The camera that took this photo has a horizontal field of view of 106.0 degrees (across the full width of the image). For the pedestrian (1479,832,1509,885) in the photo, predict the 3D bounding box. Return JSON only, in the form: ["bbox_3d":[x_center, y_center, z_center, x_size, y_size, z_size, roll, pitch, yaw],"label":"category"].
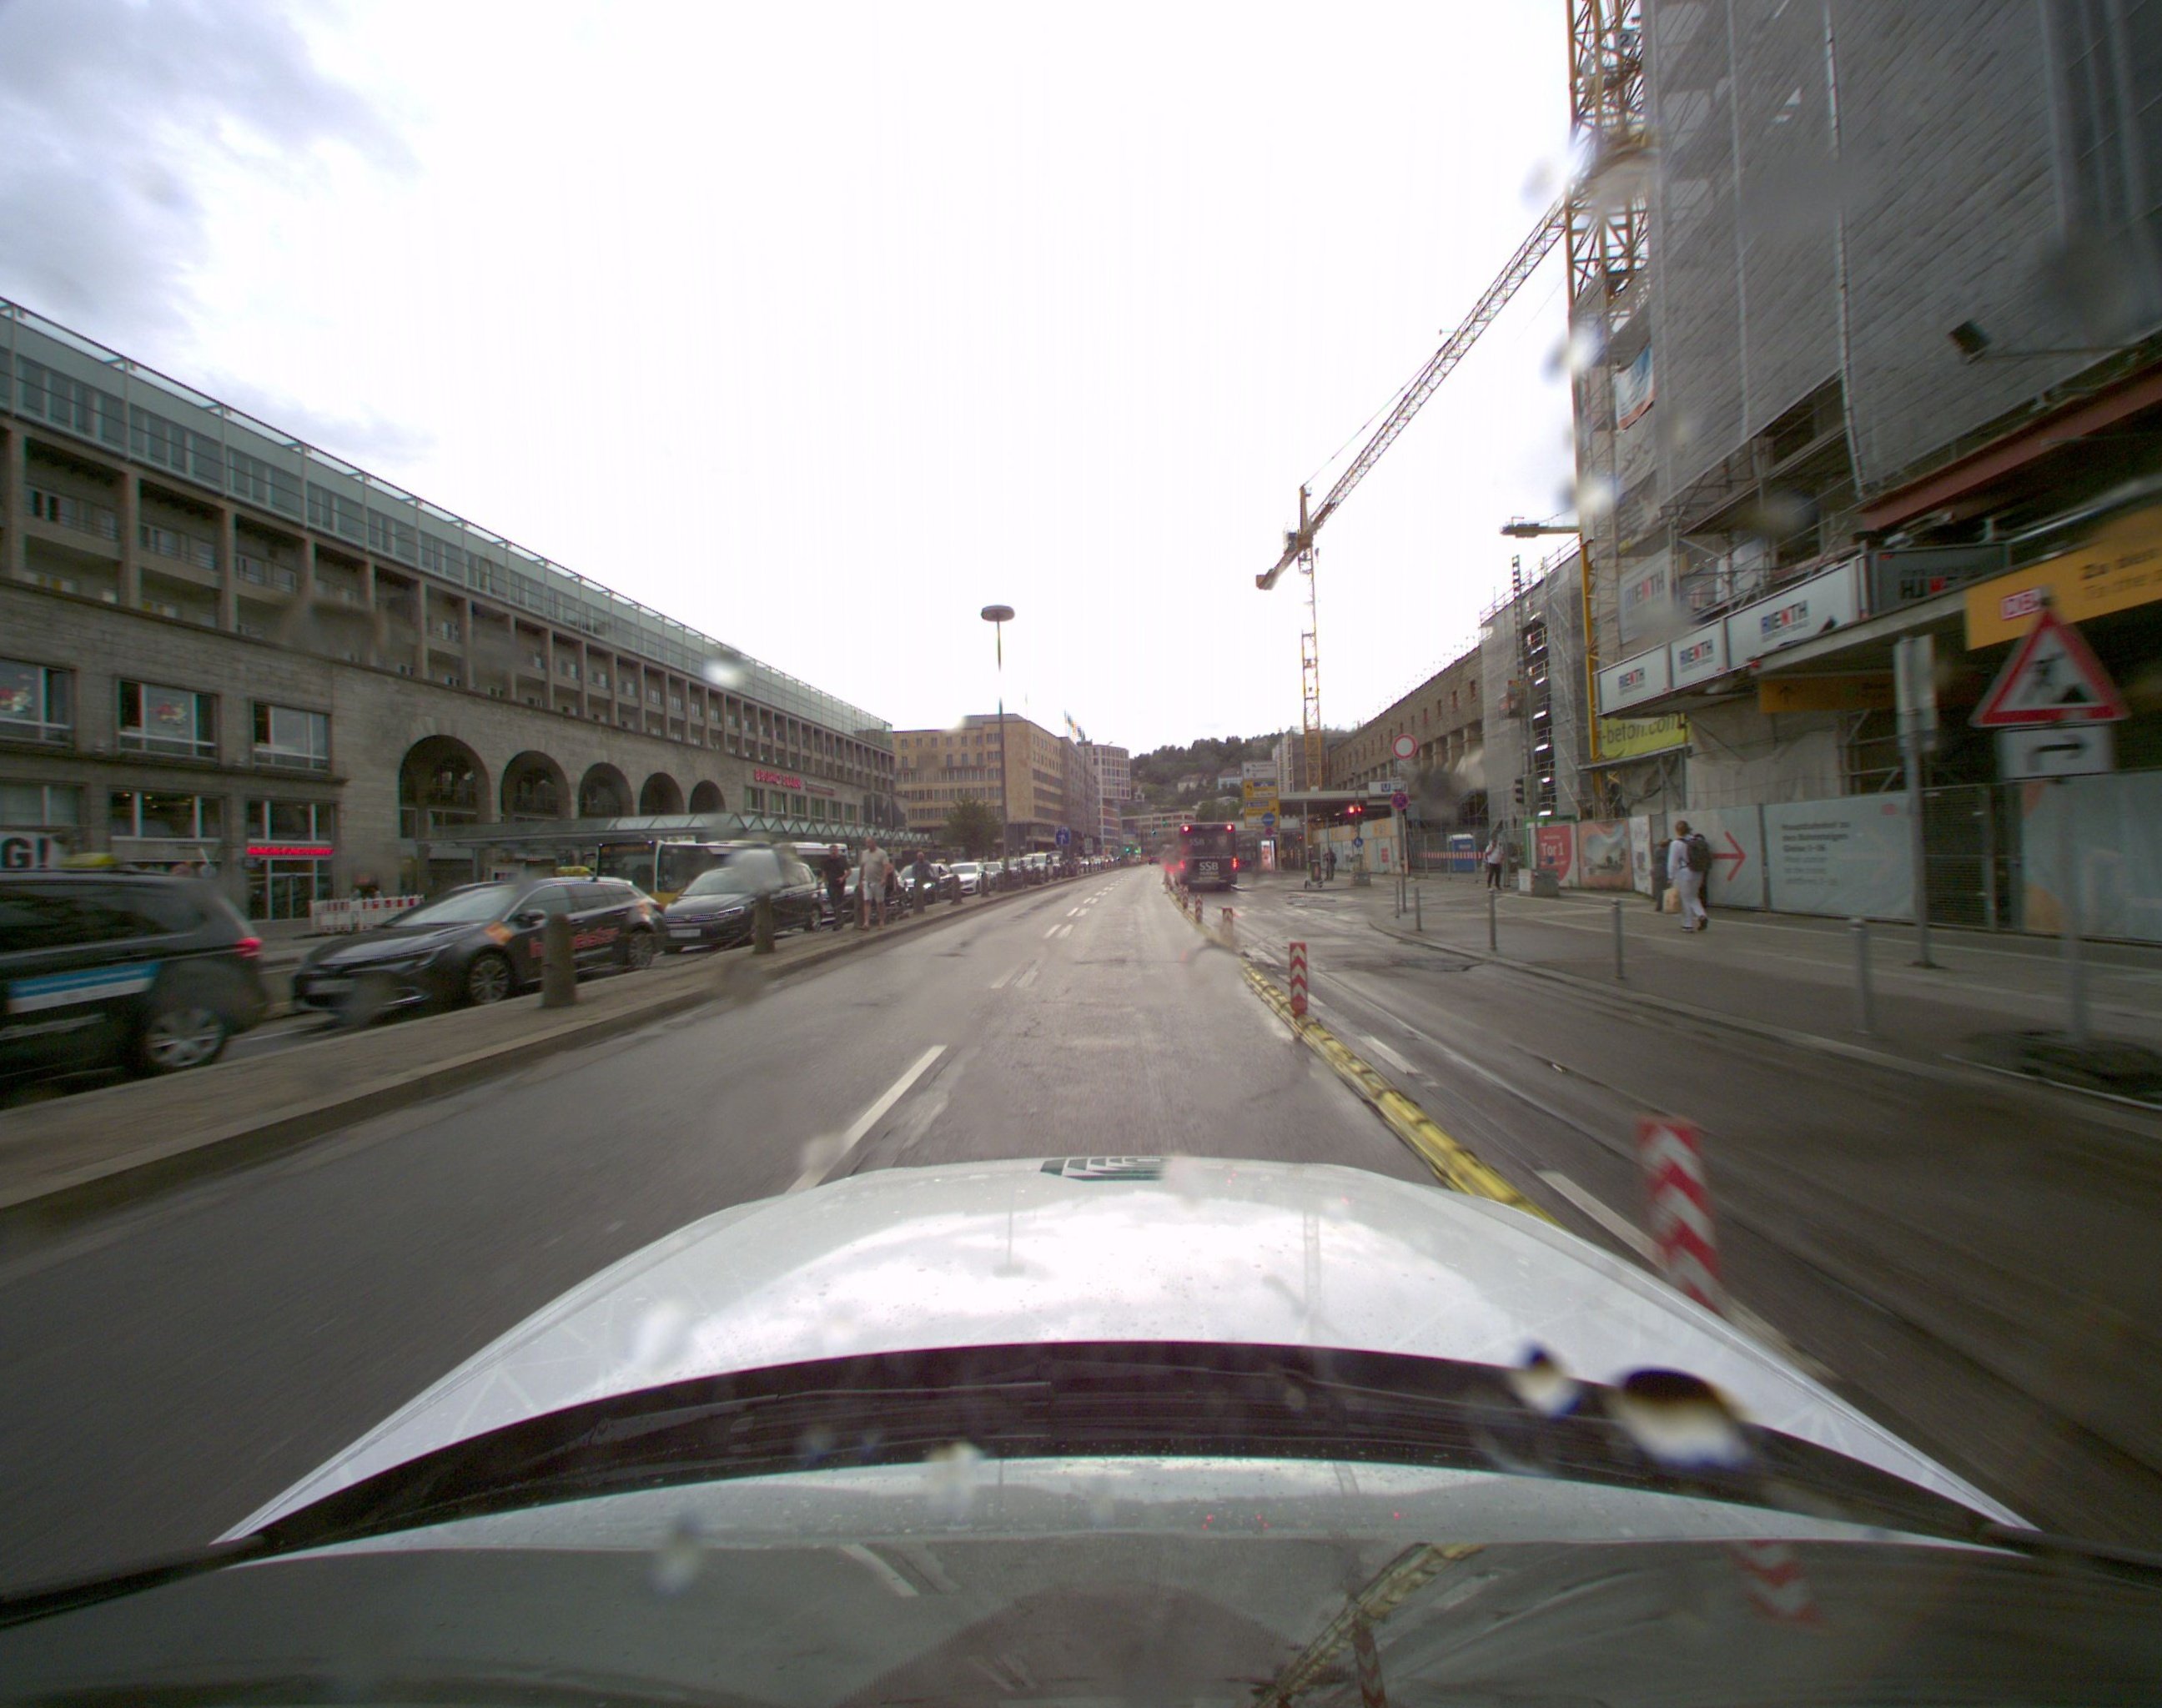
[{"bbox_3d":[14.835,0.161,29.284,0.641,1.847,0.659,-5,-1,4],"label":"pedestrian"}]

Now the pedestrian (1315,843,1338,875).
[{"bbox_3d":[12.674,0.243,41.965,0.898,1.635,0.833,-2,-1,32],"label":"pedestrian"}]

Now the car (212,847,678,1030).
[{"bbox_3d":[-7.425,0.857,10.338,1.921,1.690,4.687,-3,-1,4],"label":"car"}]

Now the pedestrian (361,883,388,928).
[{"bbox_3d":[-32.743,2.382,37.737,0.573,2.014,0.709,-2,-1,4],"label":"pedestrian"}]

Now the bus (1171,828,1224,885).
[{"bbox_3d":[6.886,0.190,49.176,2.742,3.066,9.006,-1,-1,6],"label":"bus"}]

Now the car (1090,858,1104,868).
[{"bbox_3d":[2.754,1.471,139.017,1.952,1.564,4.843,-4,0,5],"label":"car"}]

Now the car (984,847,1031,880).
[{"bbox_3d":[-4.258,0.556,48.148,1.921,1.699,4.890,-3,-1,4],"label":"car"}]

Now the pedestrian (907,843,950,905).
[{"bbox_3d":[-4.432,0.580,23.739,1.046,1.768,0.617,-2,-1,4],"label":"pedestrian"}]

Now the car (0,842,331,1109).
[{"bbox_3d":[-7.860,0.824,4.981,1.921,1.690,4.687,-3,-1,4],"label":"car"}]

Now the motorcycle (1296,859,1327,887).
[{"bbox_3d":[9.713,0.796,34.289,0.579,1.166,1.627,-1,-1,44],"label":"motorcycle"}]

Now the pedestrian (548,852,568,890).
[{"bbox_3d":[-20.863,0.677,32.505,0.586,1.507,0.621,0,0,-25],"label":"pedestrian"}]

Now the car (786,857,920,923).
[{"bbox_3d":[-6.344,0.940,23.420,1.921,1.576,5.267,-3,-1,4],"label":"car"}]

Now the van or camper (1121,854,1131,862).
[{"bbox_3d":[10.967,0.996,199.043,1.982,2.014,5.201,-2,-1,9],"label":"van or camper"}]

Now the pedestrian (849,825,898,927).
[{"bbox_3d":[-4.185,0.435,16.467,0.719,2.008,0.773,-1,0,5],"label":"pedestrian"}]

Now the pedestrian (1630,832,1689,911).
[{"bbox_3d":[11.920,0.350,16.789,0.648,1.540,0.666,-5,-1,6],"label":"pedestrian"}]

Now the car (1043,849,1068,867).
[{"bbox_3d":[-2.406,0.394,77.065,1.985,1.552,4.003,-2,-1,3],"label":"car"}]

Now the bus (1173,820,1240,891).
[{"bbox_3d":[6.010,0.130,40.146,2.742,3.069,9.093,-1,-1,6],"label":"bus"}]

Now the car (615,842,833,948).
[{"bbox_3d":[-6.822,0.724,16.256,1.921,1.690,4.687,-3,-1,4],"label":"car"}]

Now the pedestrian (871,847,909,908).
[{"bbox_3d":[-5.157,0.621,22.078,0.719,1.606,0.997,-1,0,4],"label":"pedestrian"}]

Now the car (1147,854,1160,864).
[{"bbox_3d":[12.603,0.877,140.988,1.983,1.552,4.007,-2,-1,7],"label":"car"}]

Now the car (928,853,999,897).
[{"bbox_3d":[-5.083,0.887,36.050,1.967,1.659,5.198,-3,-1,4],"label":"car"}]

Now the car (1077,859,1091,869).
[{"bbox_3d":[0.505,1.729,146.864,1.952,1.564,4.843,-4,0,5],"label":"car"}]

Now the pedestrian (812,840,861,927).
[{"bbox_3d":[-5.060,0.604,16.869,0.695,1.755,0.712,-2,0,4],"label":"pedestrian"}]

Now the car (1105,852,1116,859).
[{"bbox_3d":[6.947,0.381,190.509,1.982,1.617,4.990,-2,-1,9],"label":"car"}]

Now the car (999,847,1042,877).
[{"bbox_3d":[-3.909,0.522,53.189,1.920,1.806,4.590,-3,-1,6],"label":"car"}]

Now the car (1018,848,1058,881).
[{"bbox_3d":[-3.039,0.717,58.766,1.983,2.178,5.553,-2,0,6],"label":"car"}]

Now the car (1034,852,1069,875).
[{"bbox_3d":[-2.269,0.720,64.348,1.983,1.722,4.791,-2,0,7],"label":"car"}]

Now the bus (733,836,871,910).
[{"bbox_3d":[-14.759,0.928,44.364,2.863,3.459,10.590,-2,0,5],"label":"bus"}]

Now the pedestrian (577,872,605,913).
[{"bbox_3d":[-19.856,1.536,33.002,0.656,1.613,0.739,-1,-1,1],"label":"pedestrian"}]

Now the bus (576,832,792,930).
[{"bbox_3d":[-15.786,0.964,33.793,2.863,3.376,10.590,-2,0,5],"label":"bus"}]

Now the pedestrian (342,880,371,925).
[{"bbox_3d":[-33.073,2.201,37.178,0.573,2.014,0.709,-2,-1,4],"label":"pedestrian"}]

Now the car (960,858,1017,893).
[{"bbox_3d":[-4.671,1.074,41.829,1.921,1.576,5.057,-3,-1,4],"label":"car"}]

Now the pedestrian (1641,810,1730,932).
[{"bbox_3d":[9.739,0.269,13.151,0.719,1.847,0.811,-5,-1,5],"label":"pedestrian"}]

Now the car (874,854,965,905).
[{"bbox_3d":[-5.756,0.878,29.750,1.921,1.576,5.017,-3,-1,4],"label":"car"}]
